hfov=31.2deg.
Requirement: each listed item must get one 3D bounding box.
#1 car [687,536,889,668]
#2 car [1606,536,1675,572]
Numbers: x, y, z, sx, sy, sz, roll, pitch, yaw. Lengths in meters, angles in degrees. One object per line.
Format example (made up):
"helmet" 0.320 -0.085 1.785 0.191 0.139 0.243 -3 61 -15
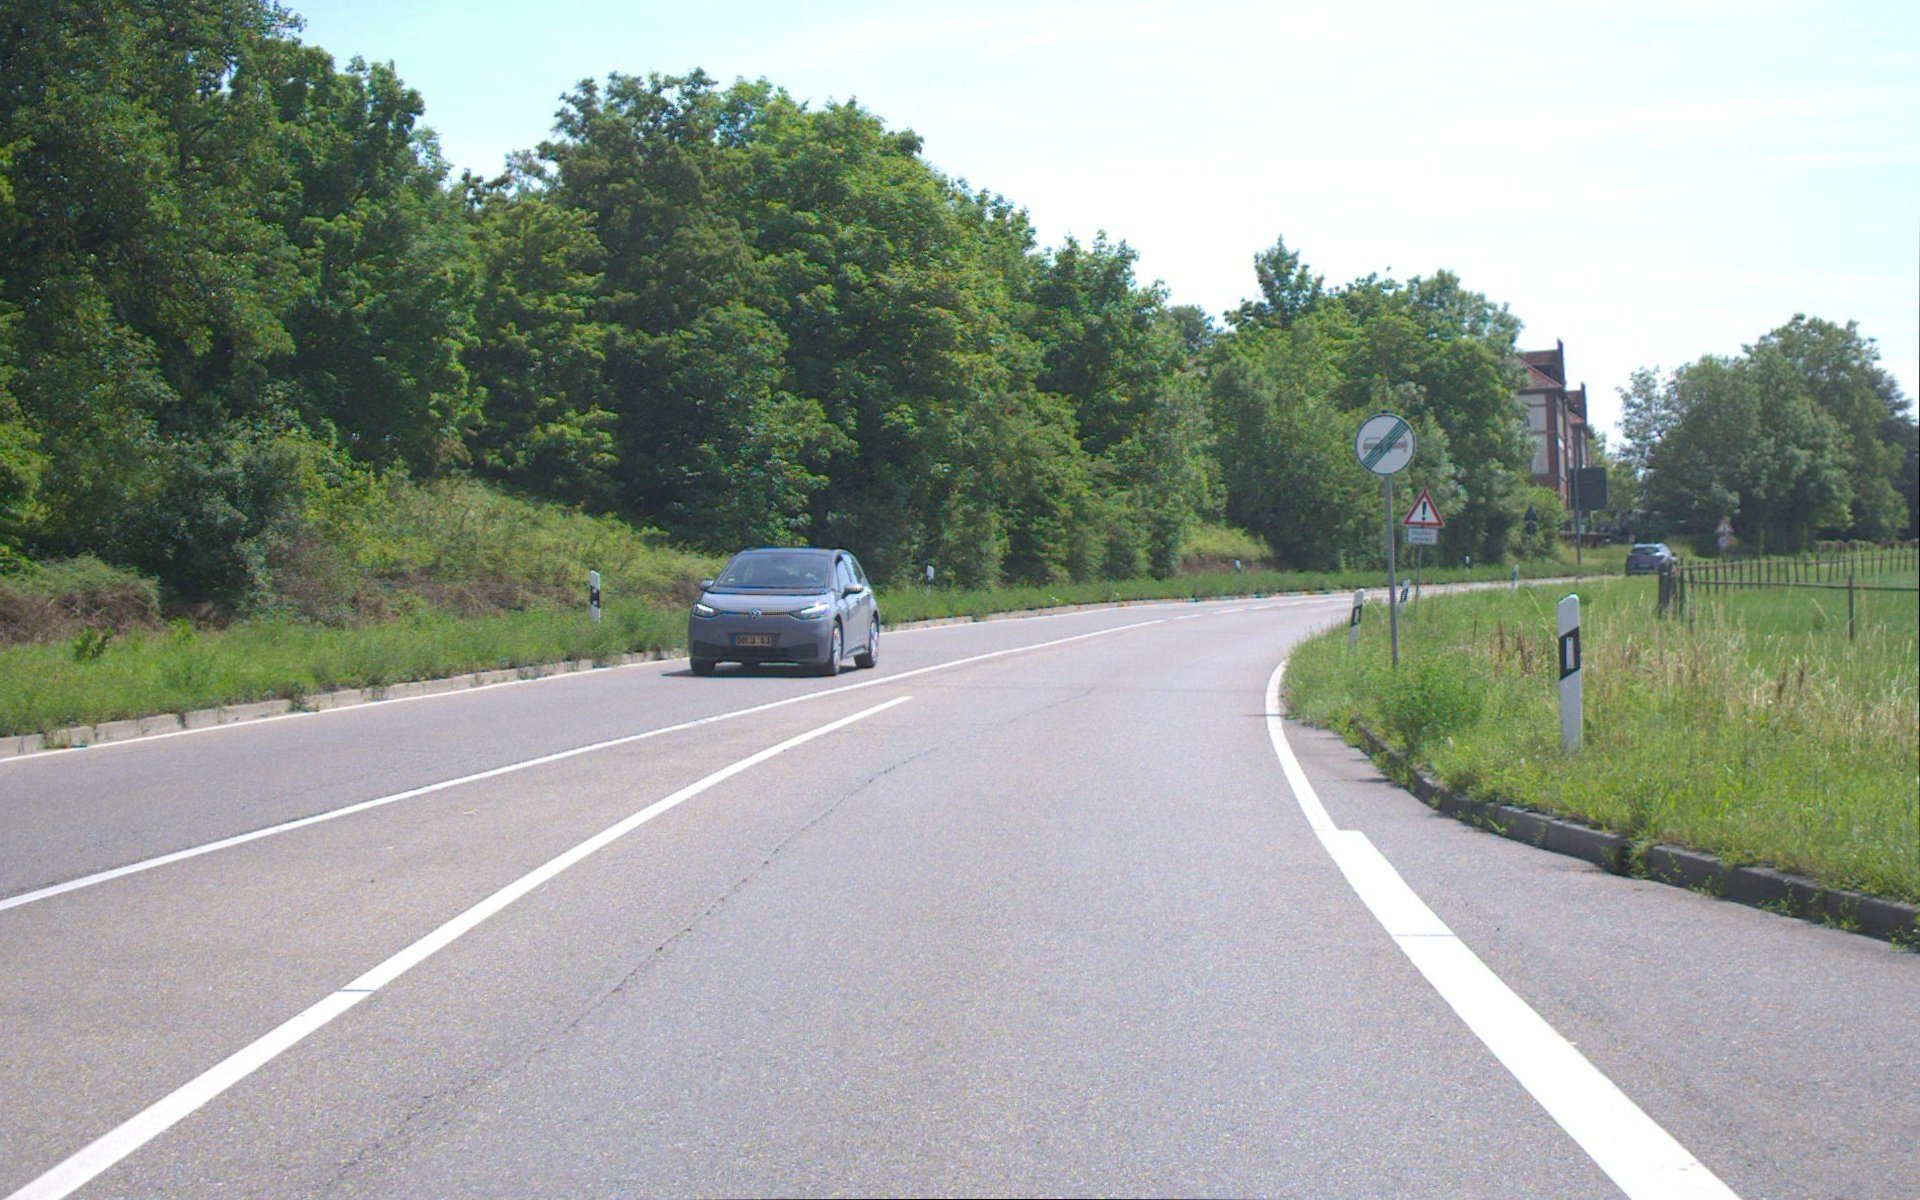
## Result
"car" -2.078 -0.013 42.737 1.755 1.529 4.227 1 1 7
"car" 30.033 -2.051 151.631 1.996 1.568 3.994 1 1 27
